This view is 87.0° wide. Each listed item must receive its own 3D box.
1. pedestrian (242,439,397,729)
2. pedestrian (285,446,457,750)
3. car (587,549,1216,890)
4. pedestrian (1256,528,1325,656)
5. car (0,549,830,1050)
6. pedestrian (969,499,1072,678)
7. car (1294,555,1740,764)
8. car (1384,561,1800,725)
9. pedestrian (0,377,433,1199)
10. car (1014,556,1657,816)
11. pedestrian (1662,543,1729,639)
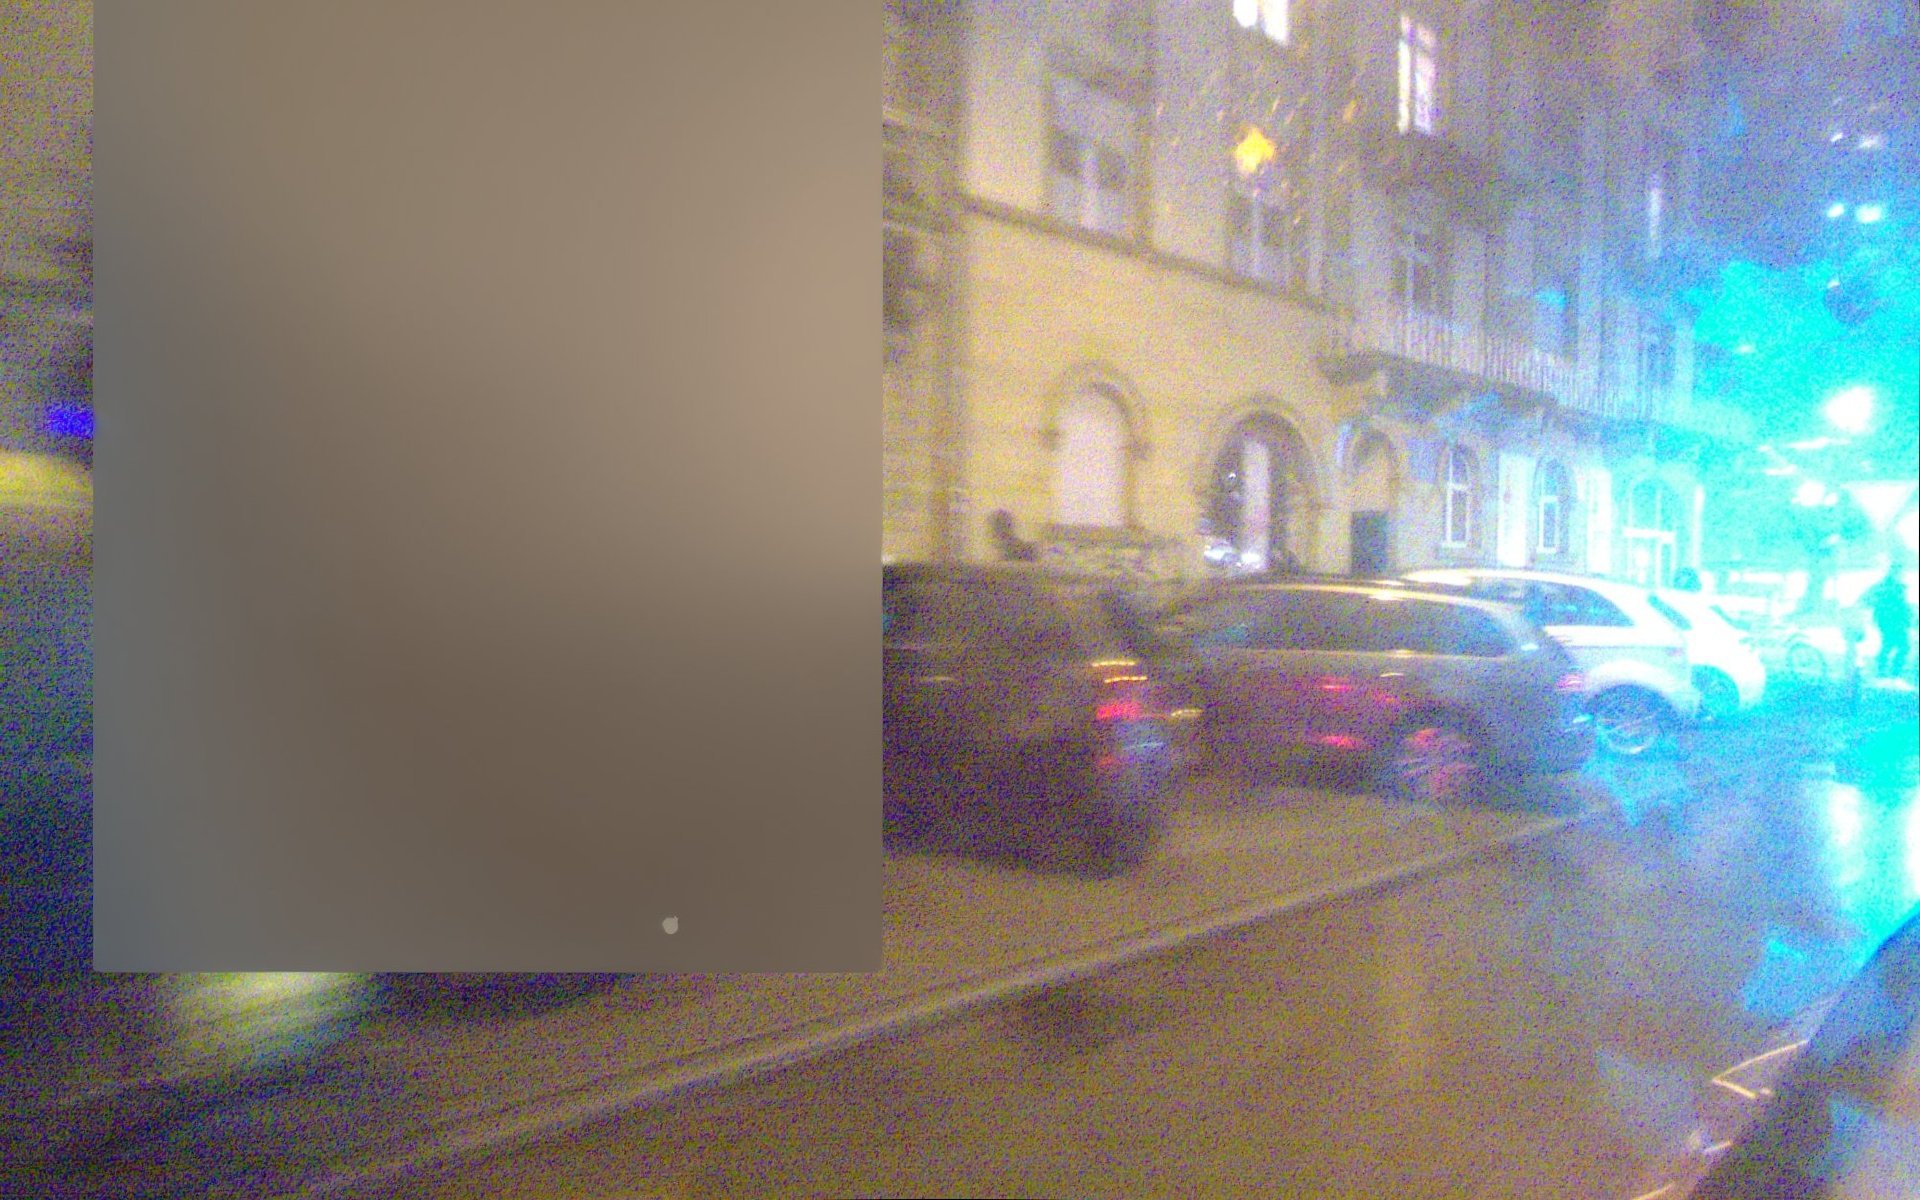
[{"bbox_3d":[-4.618,-0.111,7.286,0.827,1.928,0.748,3,1,-36],"label":"pedestrian"},{"bbox_3d":[-3.937,-0.018,6.757,0.854,1.864,0.748,3,1,-36],"label":"pedestrian"},{"bbox_3d":[-0.319,0.506,6.102,3.441,1.580,1.626,1,2,22],"label":"car"},{"bbox_3d":[4.478,-0.115,13.711,0.590,1.685,0.575,3,1,-36],"label":"pedestrian"},{"bbox_3d":[-2.450,0.585,4.524,3.353,1.580,1.629,1,1,19],"label":"car"},{"bbox_3d":[0.640,-0.119,10.741,0.769,1.812,0.658,3,1,-36],"label":"pedestrian"},{"bbox_3d":[4.927,0.437,9.484,3.353,1.611,1.585,2,2,19],"label":"car"},{"bbox_3d":[6.764,0.380,11.279,3.551,1.580,1.703,1,1,17],"label":"car"},{"bbox_3d":[-1.732,0.534,1.963,1.155,1.792,0.825,0,1,-36],"label":"pedestrian"},{"bbox_3d":[2.583,0.489,7.659,4.059,1.510,1.586,2,2,18],"label":"car"},{"bbox_3d":[15.225,-0.189,20.941,0.867,1.930,0.807,3,1,-36],"label":"pedestrian"}]
